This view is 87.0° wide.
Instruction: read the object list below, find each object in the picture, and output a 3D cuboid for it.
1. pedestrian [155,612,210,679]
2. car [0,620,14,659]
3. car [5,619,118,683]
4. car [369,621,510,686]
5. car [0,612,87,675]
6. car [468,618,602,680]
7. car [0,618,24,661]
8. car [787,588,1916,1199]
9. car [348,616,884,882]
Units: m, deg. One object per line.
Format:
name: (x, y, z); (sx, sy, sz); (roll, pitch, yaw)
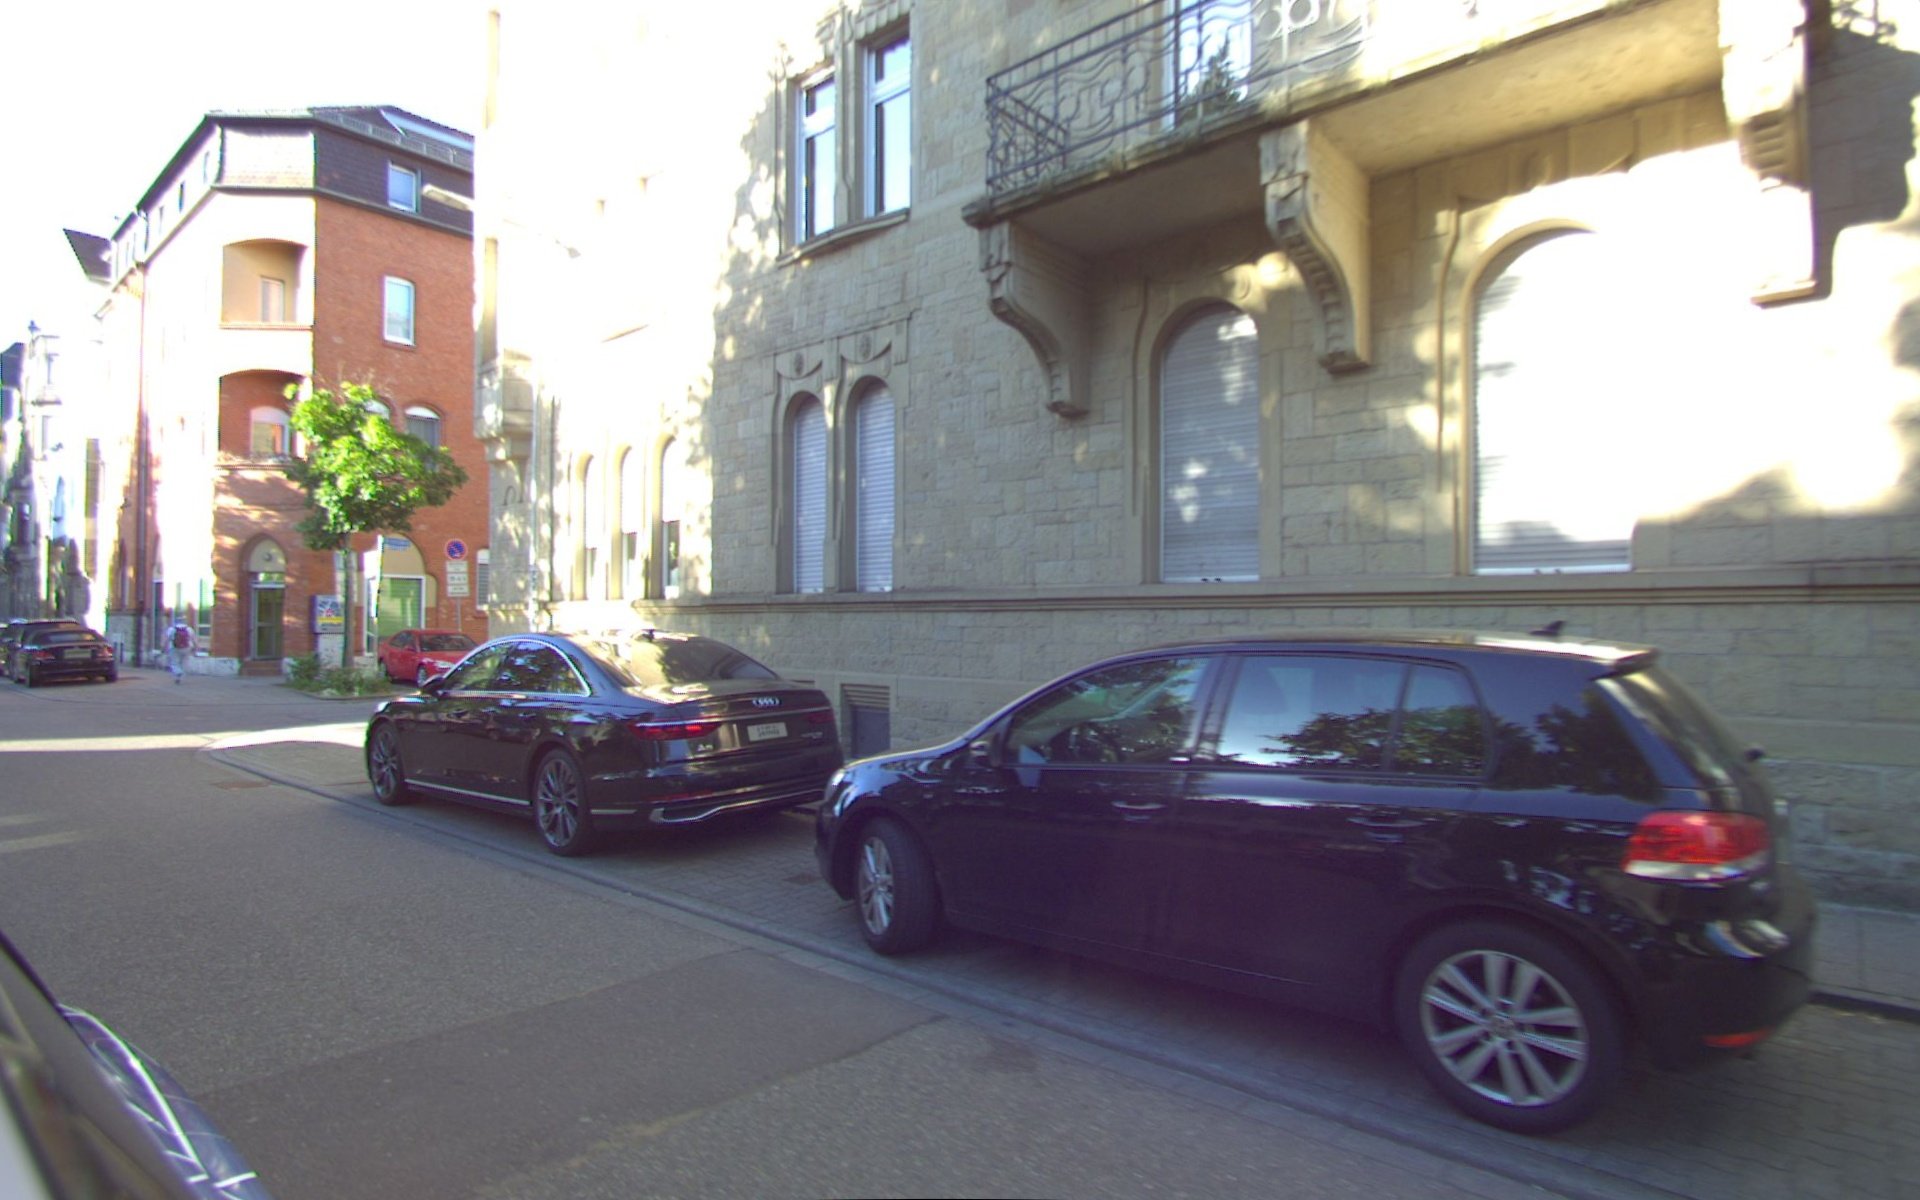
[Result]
pedestrian: (-18.990, 1.088, 24.719); (1.053, 1.589, 0.878); (1, 0, 41)
car: (-37.948, 1.525, 39.053); (4.108, 1.454, 1.660); (-2, -1, 40)
car: (-22.785, 1.234, 25.621); (4.331, 1.421, 1.618); (-1, 1, 41)
car: (-13.278, 1.283, 25.681); (4.656, 1.480, 1.618); (-1, -1, 41)
car: (-26.870, 1.203, 29.326); (4.346, 1.693, 1.653); (-1, -1, 39)
car: (-11.646, 1.299, 27.619); (4.210, 1.562, 1.695); (-1, -3, 41)
car: (-34.340, 1.396, 35.793); (3.591, 1.481, 1.549); (-2, -1, 43)
car: (1.229, 0.725, 4.324); (4.024, 1.464, 1.679); (0, -1, 40)
car: (-2.972, 0.885, 8.030); (4.895, 1.437, 1.792); (-1, 1, 41)
